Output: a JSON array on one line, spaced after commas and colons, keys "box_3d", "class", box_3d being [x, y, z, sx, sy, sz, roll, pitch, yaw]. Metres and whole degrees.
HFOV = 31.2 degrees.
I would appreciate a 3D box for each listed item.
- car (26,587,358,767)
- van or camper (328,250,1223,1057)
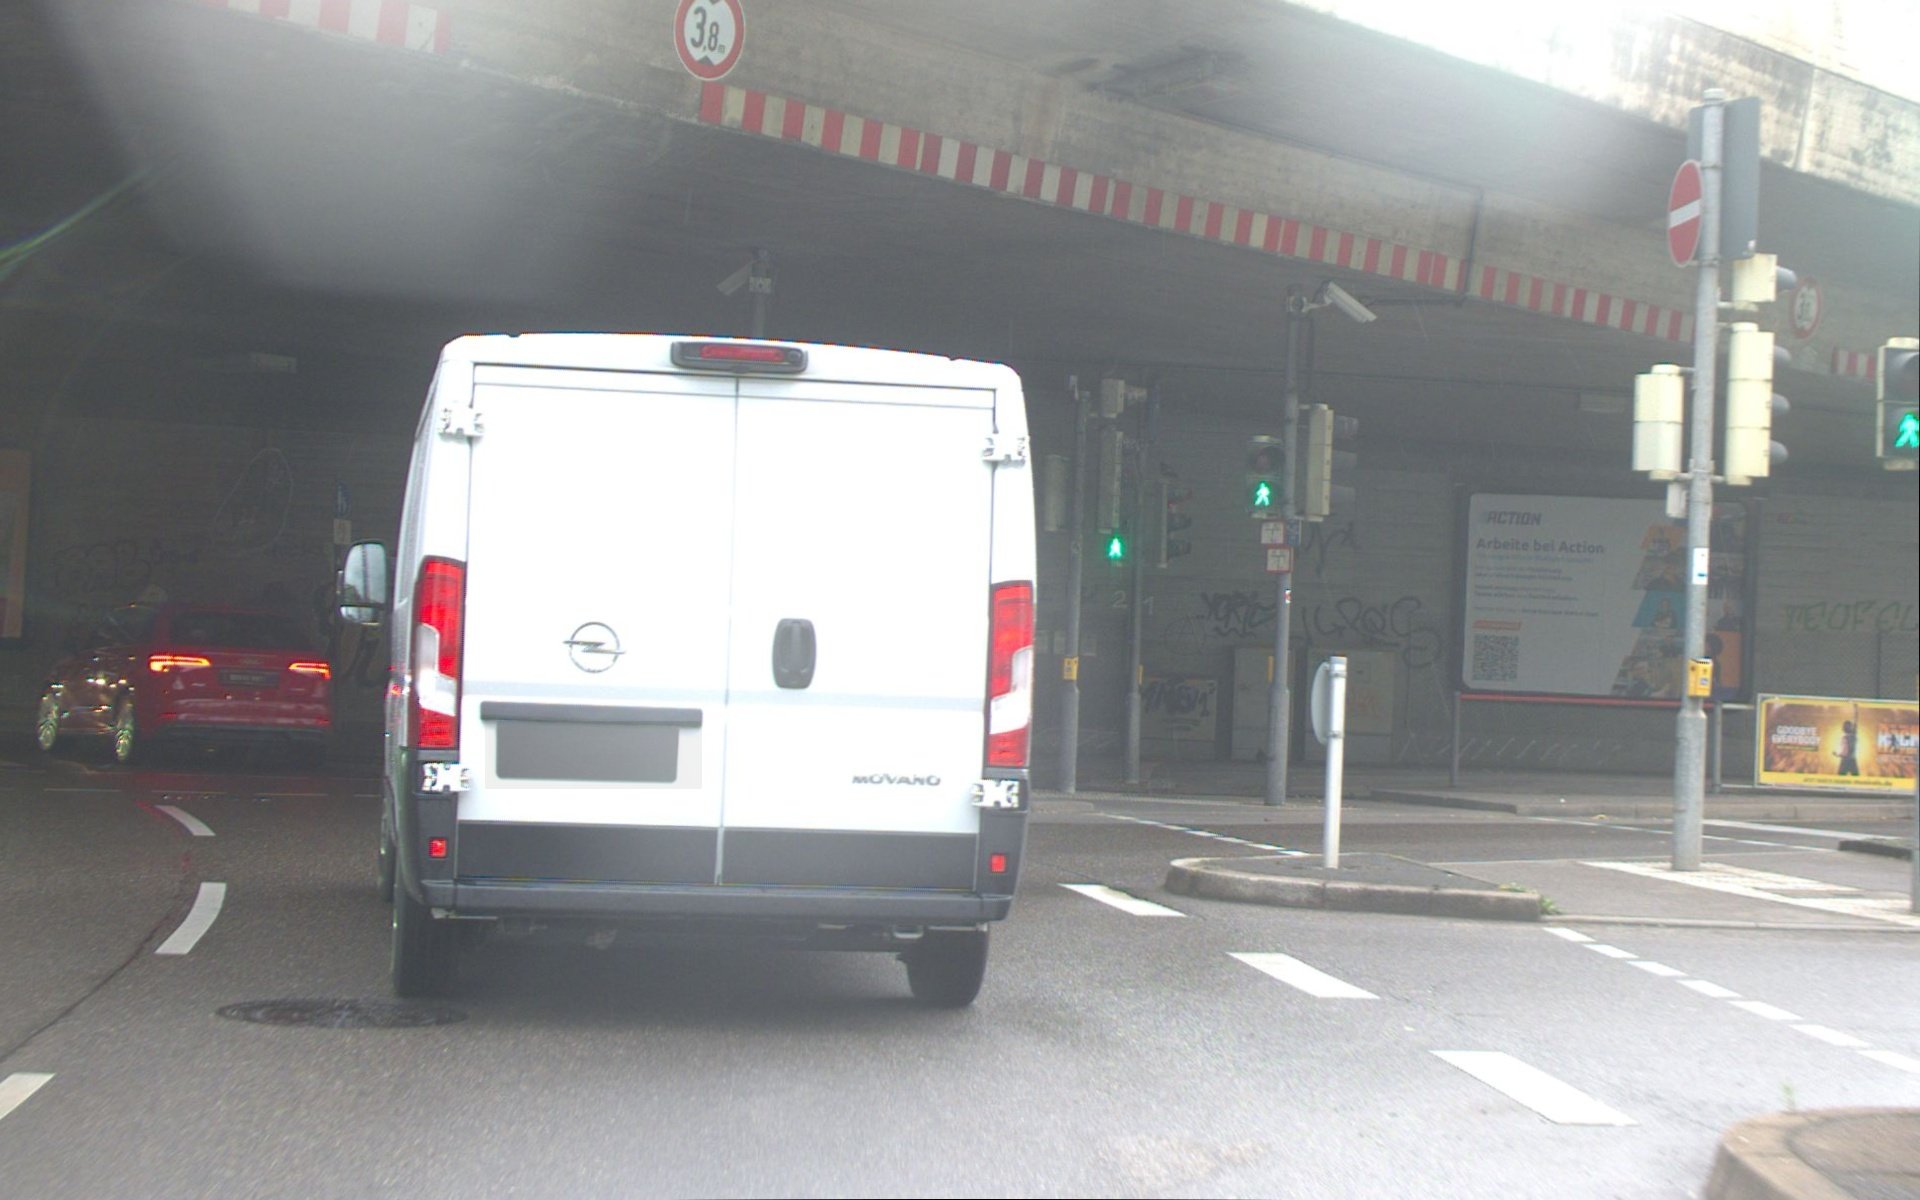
[{"box_3d": [-6.857, 0.642, 30.392, 1.836, 1.433, 4.103, 3, -1, -27], "class": "car"}, {"box_3d": [-0.935, 0.140, 13.168, 2.697, 2.408, 4.905, 3, 1, -9], "class": "van or camper"}]
